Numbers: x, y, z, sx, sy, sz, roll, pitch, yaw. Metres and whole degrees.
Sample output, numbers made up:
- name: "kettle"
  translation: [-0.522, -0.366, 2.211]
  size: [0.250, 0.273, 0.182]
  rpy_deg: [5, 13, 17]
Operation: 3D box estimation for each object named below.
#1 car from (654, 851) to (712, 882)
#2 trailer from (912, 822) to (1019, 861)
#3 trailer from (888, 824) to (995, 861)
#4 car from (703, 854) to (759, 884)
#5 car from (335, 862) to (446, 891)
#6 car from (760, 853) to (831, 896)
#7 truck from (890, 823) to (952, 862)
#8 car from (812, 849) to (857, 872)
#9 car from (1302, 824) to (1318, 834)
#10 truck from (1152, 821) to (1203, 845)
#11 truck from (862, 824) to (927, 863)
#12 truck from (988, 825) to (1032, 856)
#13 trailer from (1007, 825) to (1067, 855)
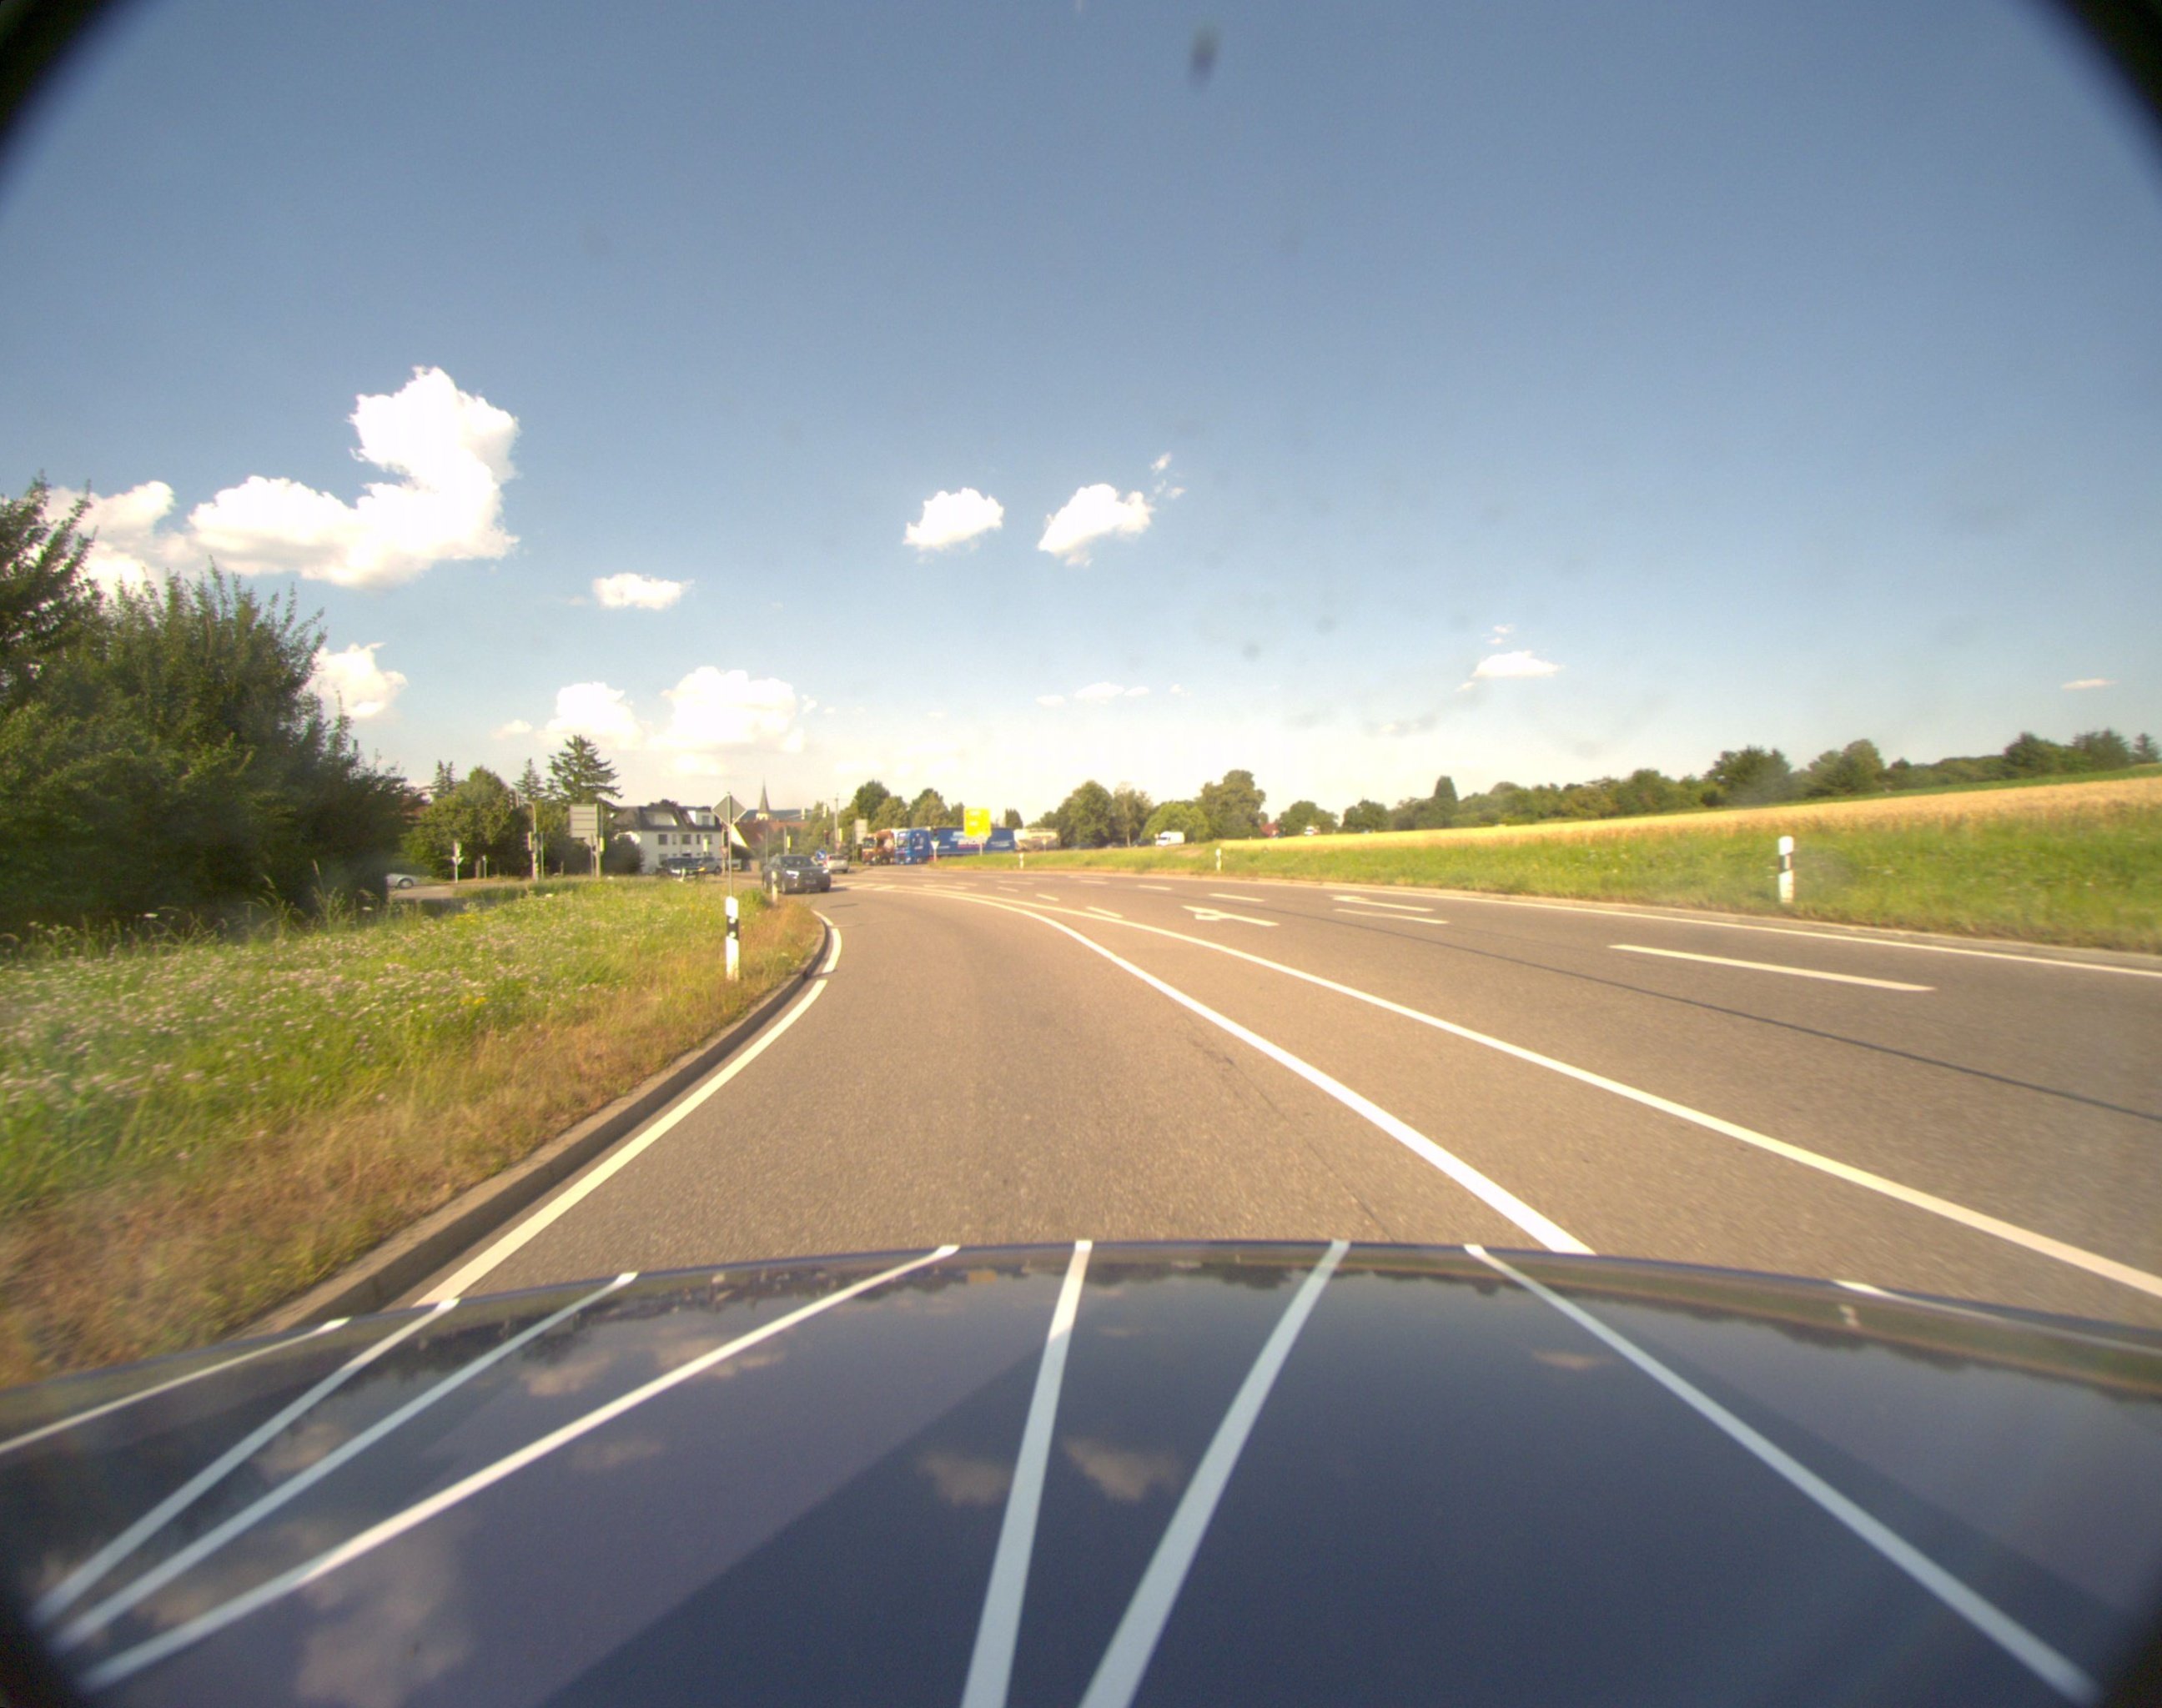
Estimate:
- name: "car"
  translation: [-23.121, 0.742, 44.082]
  size: [1.779, 1.604, 4.535]
  rpy_deg: [-4, 1, -43]
- name: "trailer"
  translation: [-13.222, -1.587, 89.034]
  size: [3.410, 3.982, 13.774]
  rpy_deg: [-2, 1, 37]
- name: "trailer"
  translation: [-16.369, -1.522, 90.822]
  size: [2.533, 4.043, 14.362]
  rpy_deg: [-2, 1, 38]
- name: "car"
  translation: [-27.441, 1.123, 59.722]
  size: [1.906, 1.937, 4.371]
  rpy_deg: [-4, 2, 5]
- name: "car"
  translation: [-44.419, 1.451, 48.998]
  size: [1.858, 1.505, 4.962]
  rpy_deg: [-2, 1, 37]
- name: "car"
  translation: [-12.201, 0.847, 32.285]
  size: [1.792, 1.620, 4.458]
  rpy_deg: [-4, 1, -34]
- name: "truck"
  translation: [-17.502, -1.272, 83.341]
  size: [3.367, 3.982, 5.611]
  rpy_deg: [-2, 2, 37]
- name: "car"
  translation: [-18.537, 0.511, 57.037]
  size: [1.823, 1.519, 4.343]
  rpy_deg: [-4, 0, -36]
- name: "car"
  translation: [54.618, -5.939, 180.855]
  size: [1.995, 2.002, 4.006]
  rpy_deg: [-5, 2, 41]
- name: "truck"
  translation: [17.253, -3.794, 134.210]
  size: [2.523, 3.752, 12.921]
  rpy_deg: [-2, 1, 38]
- name: "truck"
  translation: [-20.822, -1.236, 85.016]
  size: [2.533, 4.020, 6.674]
  rpy_deg: [-2, 2, 38]
- name: "truck"
  translation: [-9.238, -1.790, 99.318]
  size: [2.257, 3.783, 5.696]
  rpy_deg: [-2, 2, 37]
- name: "trailer"
  translation: [-5.894, -2.019, 103.687]
  size: [2.260, 3.755, 9.542]
  rpy_deg: [-3, 1, 37]
